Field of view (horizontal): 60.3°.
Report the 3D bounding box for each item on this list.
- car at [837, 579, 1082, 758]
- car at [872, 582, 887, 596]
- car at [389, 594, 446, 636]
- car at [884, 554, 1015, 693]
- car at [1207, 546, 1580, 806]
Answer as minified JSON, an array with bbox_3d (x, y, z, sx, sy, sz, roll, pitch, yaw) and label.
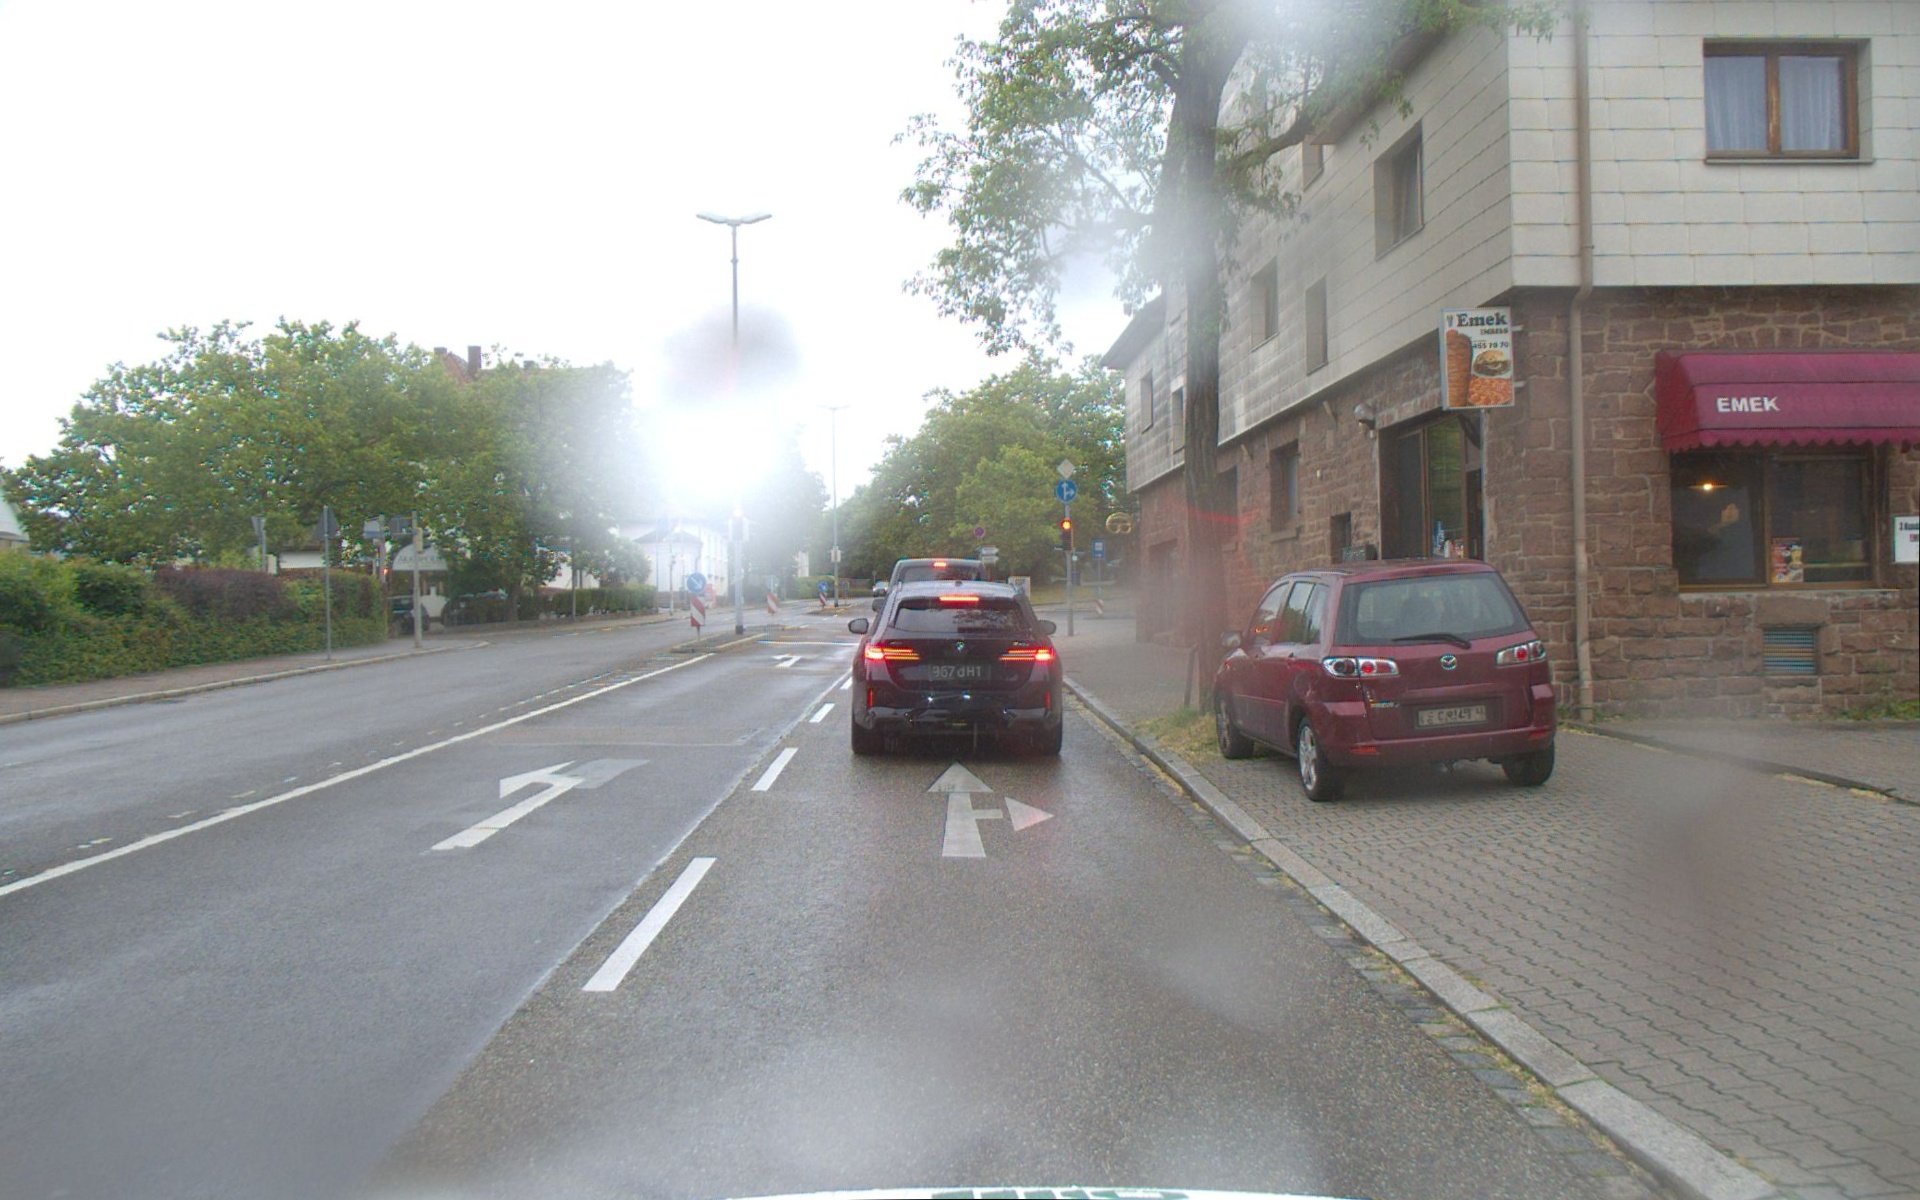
[{"bbox_3d":[-0.110,0.548,15.902,2.023,1.472,4.480,0,0,-3],"label":"car"},{"bbox_3d":[-8.268,-1.104,170.534,1.435,1.422,3.321,0,1,-1],"label":"car"},{"bbox_3d":[-21.905,0.577,66.713,1.966,1.579,3.974,-1,1,-22],"label":"car"},{"bbox_3d":[-0.229,0.290,24.204,1.748,1.849,3.998,0,1,-3],"label":"car"},{"bbox_3d":[2.977,0.434,12.113,1.552,1.516,3.625,-4,1,-3],"label":"car"}]
